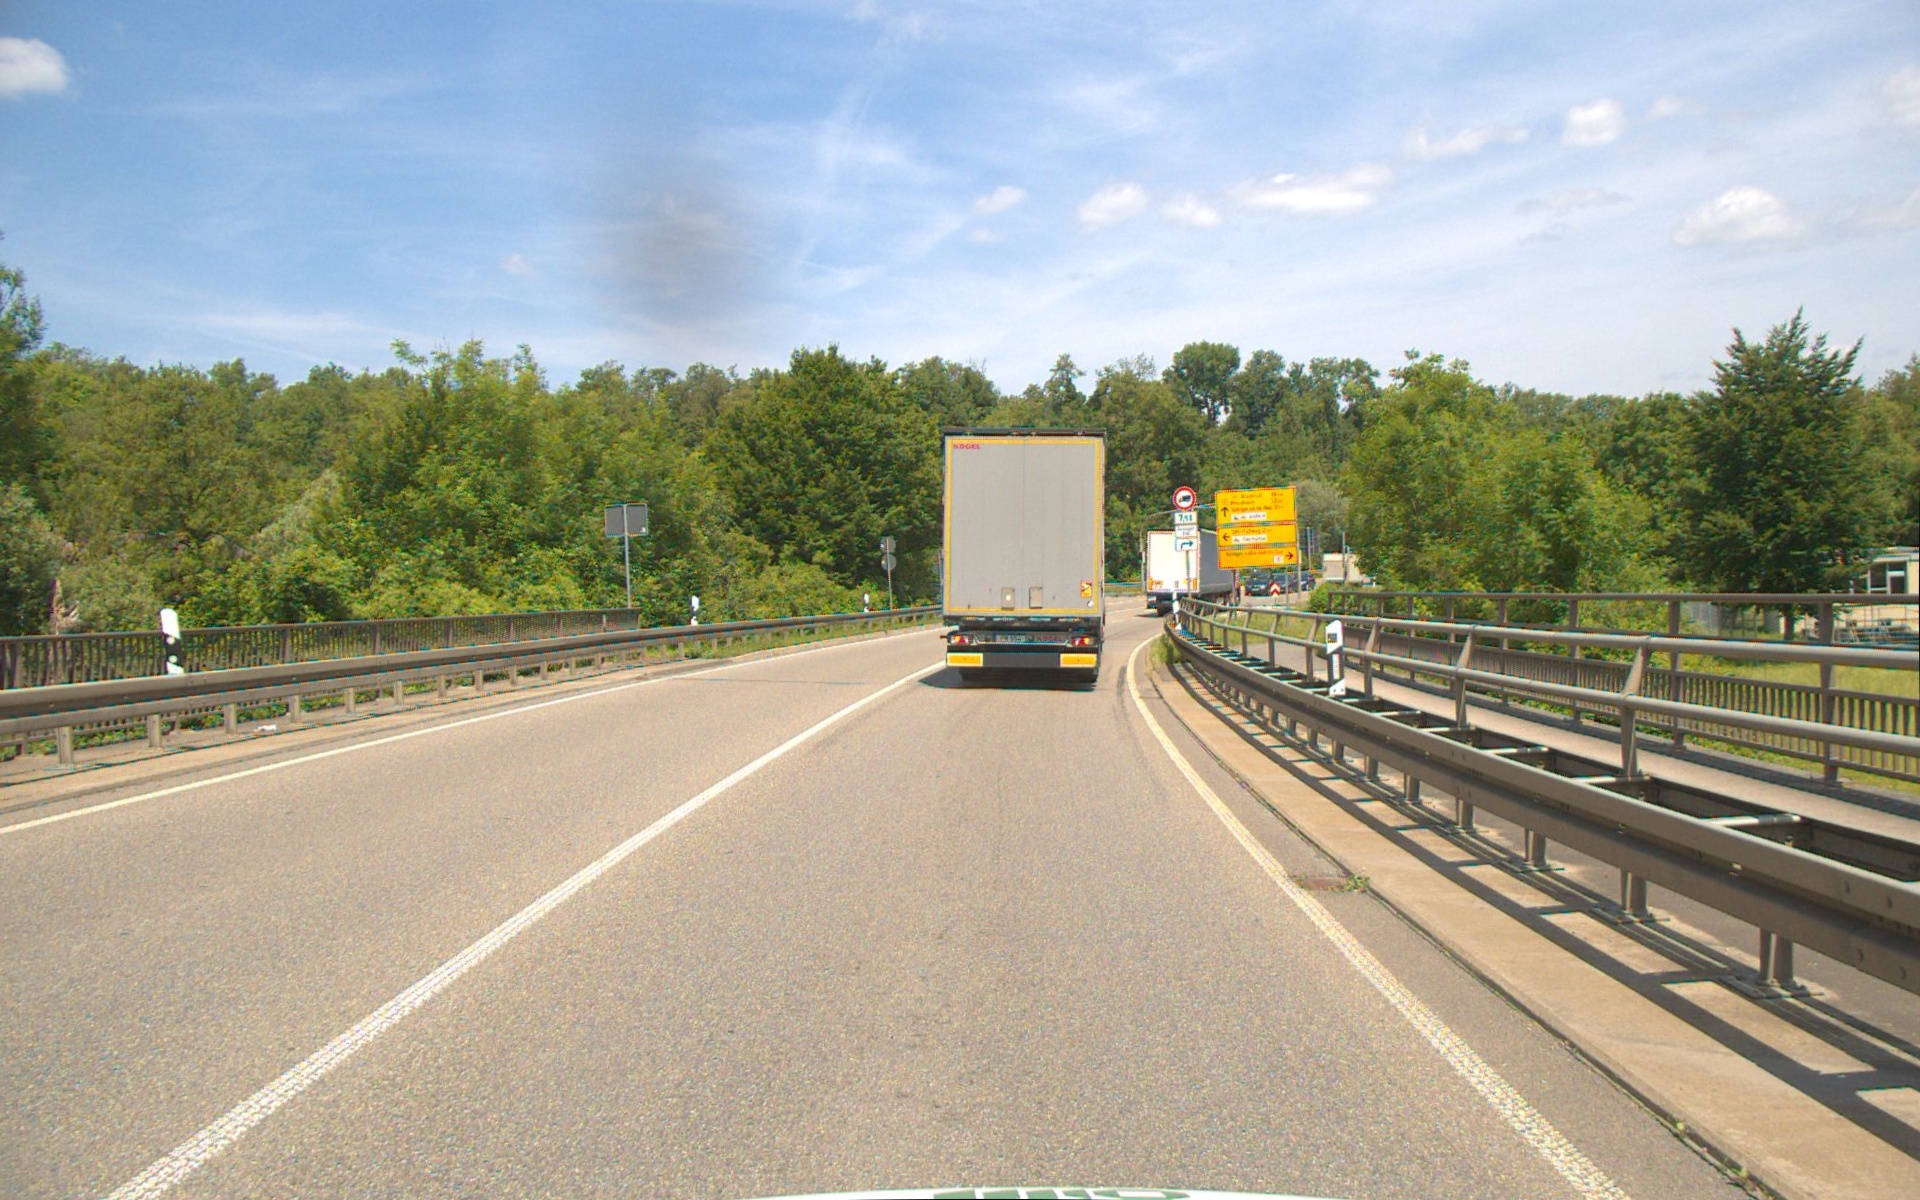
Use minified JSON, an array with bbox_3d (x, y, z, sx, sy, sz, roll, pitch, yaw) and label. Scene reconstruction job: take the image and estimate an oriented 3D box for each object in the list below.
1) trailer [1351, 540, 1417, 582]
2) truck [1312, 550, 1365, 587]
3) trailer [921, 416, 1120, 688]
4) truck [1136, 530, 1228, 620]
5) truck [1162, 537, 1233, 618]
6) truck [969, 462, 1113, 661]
[{"bbox_3d":[38.903,-3.539,151.541,3.193,3.749,9.227,0,1,32],"label":"trailer"},{"bbox_3d":[30.961,-2.567,135.164,2.799,2.999,7.099,0,1,25],"label":"truck"},{"bbox_3d":[1.426,-0.757,31.308,2.987,4.104,12.566,0,0,5],"label":"trailer"},{"bbox_3d":[11.145,-1.154,81.832,3.111,4.099,11.754,0,0,15],"label":"truck"},{"bbox_3d":[12.577,-1.139,87.236,3.101,4.074,5.819,0,0,15],"label":"truck"},{"bbox_3d":[1.955,-0.806,37.643,2.974,4.104,6.633,0,0,5],"label":"truck"}]
